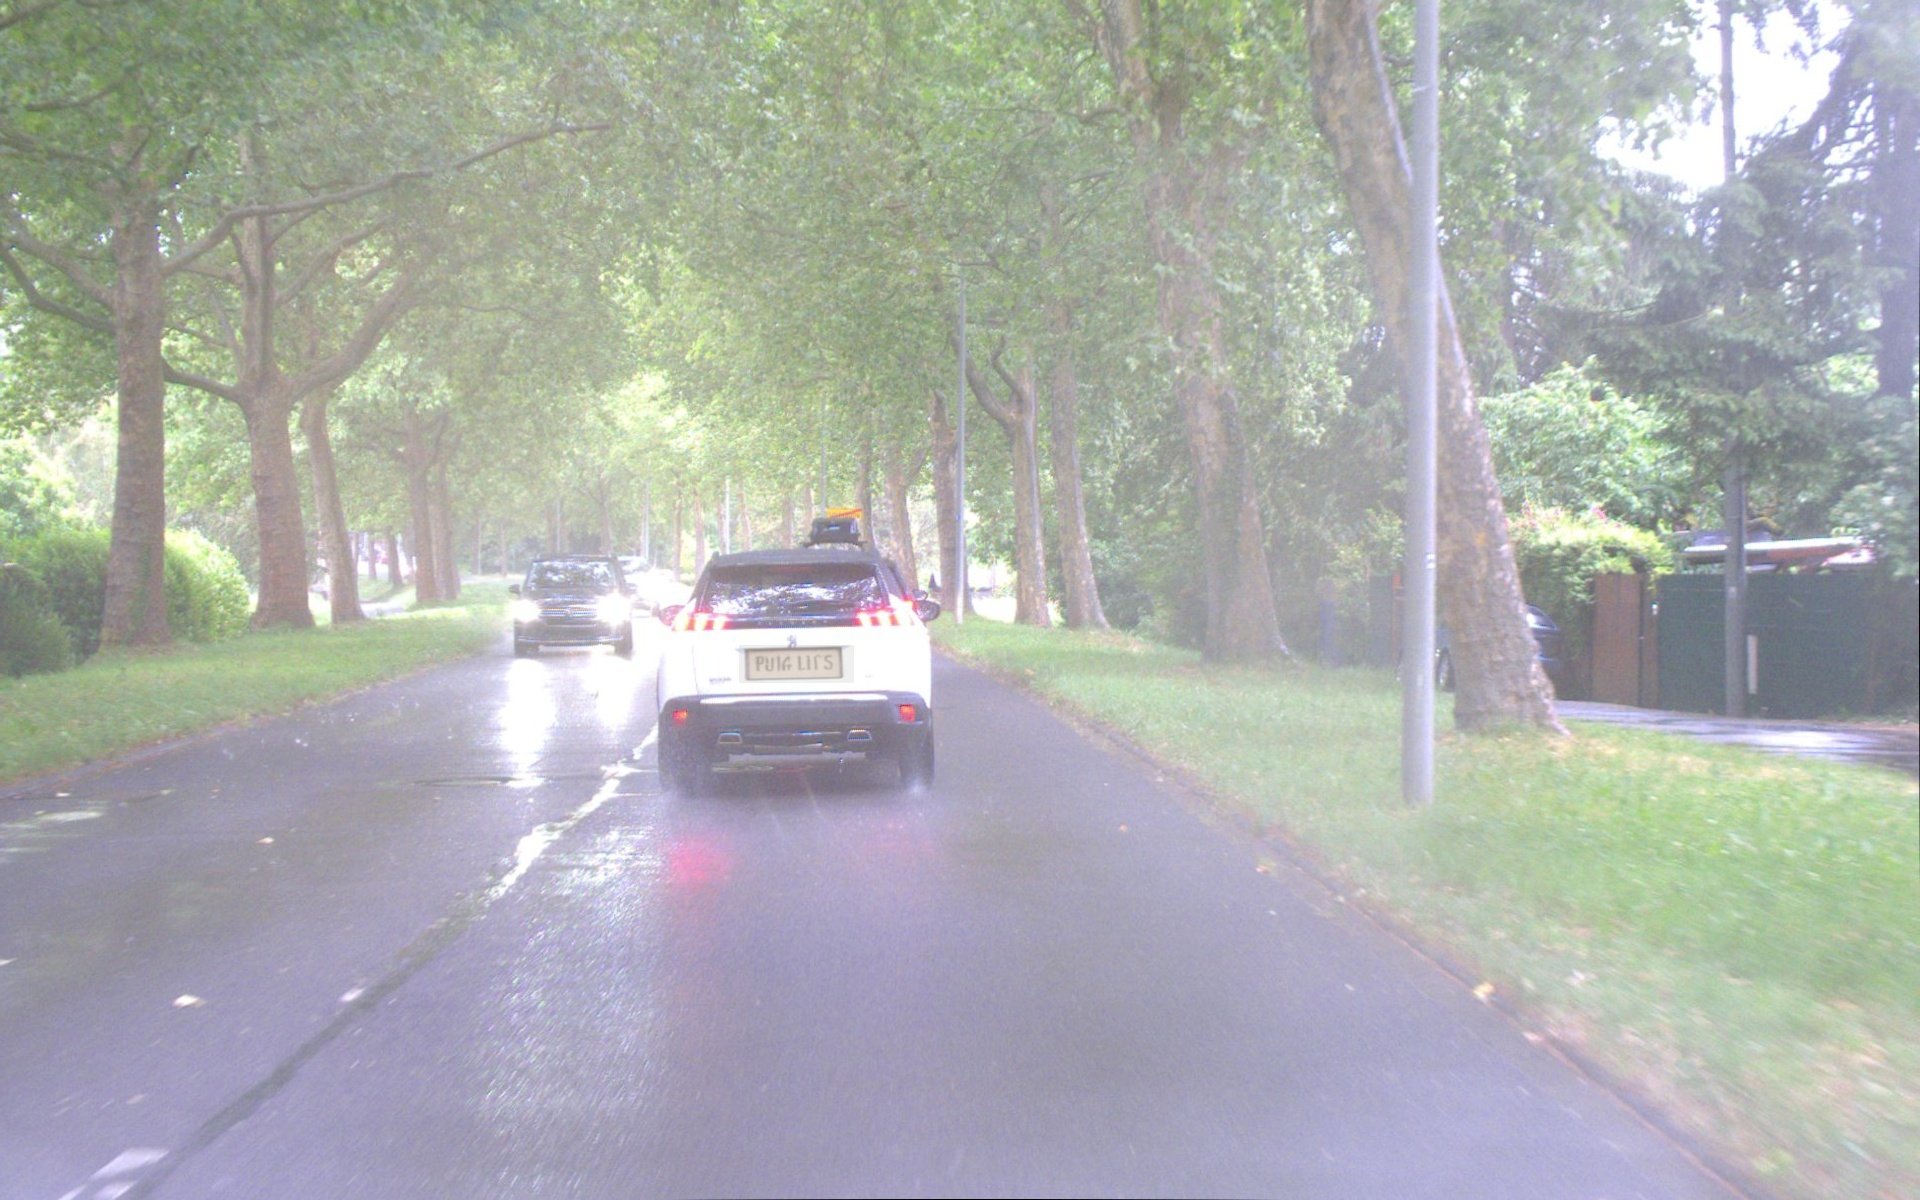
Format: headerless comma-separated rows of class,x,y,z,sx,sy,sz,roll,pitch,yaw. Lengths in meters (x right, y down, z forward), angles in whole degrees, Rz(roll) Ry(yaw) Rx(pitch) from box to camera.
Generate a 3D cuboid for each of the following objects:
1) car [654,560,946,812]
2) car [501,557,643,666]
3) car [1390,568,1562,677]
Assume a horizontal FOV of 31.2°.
car,-1.059,0.512,23.291,1.780,1.531,4.058,1,1,-2
car,-6.191,0.156,55.229,1.873,1.671,3.708,0,1,0
car,7.626,0.299,51.112,1.905,1.505,3.931,1,1,0
